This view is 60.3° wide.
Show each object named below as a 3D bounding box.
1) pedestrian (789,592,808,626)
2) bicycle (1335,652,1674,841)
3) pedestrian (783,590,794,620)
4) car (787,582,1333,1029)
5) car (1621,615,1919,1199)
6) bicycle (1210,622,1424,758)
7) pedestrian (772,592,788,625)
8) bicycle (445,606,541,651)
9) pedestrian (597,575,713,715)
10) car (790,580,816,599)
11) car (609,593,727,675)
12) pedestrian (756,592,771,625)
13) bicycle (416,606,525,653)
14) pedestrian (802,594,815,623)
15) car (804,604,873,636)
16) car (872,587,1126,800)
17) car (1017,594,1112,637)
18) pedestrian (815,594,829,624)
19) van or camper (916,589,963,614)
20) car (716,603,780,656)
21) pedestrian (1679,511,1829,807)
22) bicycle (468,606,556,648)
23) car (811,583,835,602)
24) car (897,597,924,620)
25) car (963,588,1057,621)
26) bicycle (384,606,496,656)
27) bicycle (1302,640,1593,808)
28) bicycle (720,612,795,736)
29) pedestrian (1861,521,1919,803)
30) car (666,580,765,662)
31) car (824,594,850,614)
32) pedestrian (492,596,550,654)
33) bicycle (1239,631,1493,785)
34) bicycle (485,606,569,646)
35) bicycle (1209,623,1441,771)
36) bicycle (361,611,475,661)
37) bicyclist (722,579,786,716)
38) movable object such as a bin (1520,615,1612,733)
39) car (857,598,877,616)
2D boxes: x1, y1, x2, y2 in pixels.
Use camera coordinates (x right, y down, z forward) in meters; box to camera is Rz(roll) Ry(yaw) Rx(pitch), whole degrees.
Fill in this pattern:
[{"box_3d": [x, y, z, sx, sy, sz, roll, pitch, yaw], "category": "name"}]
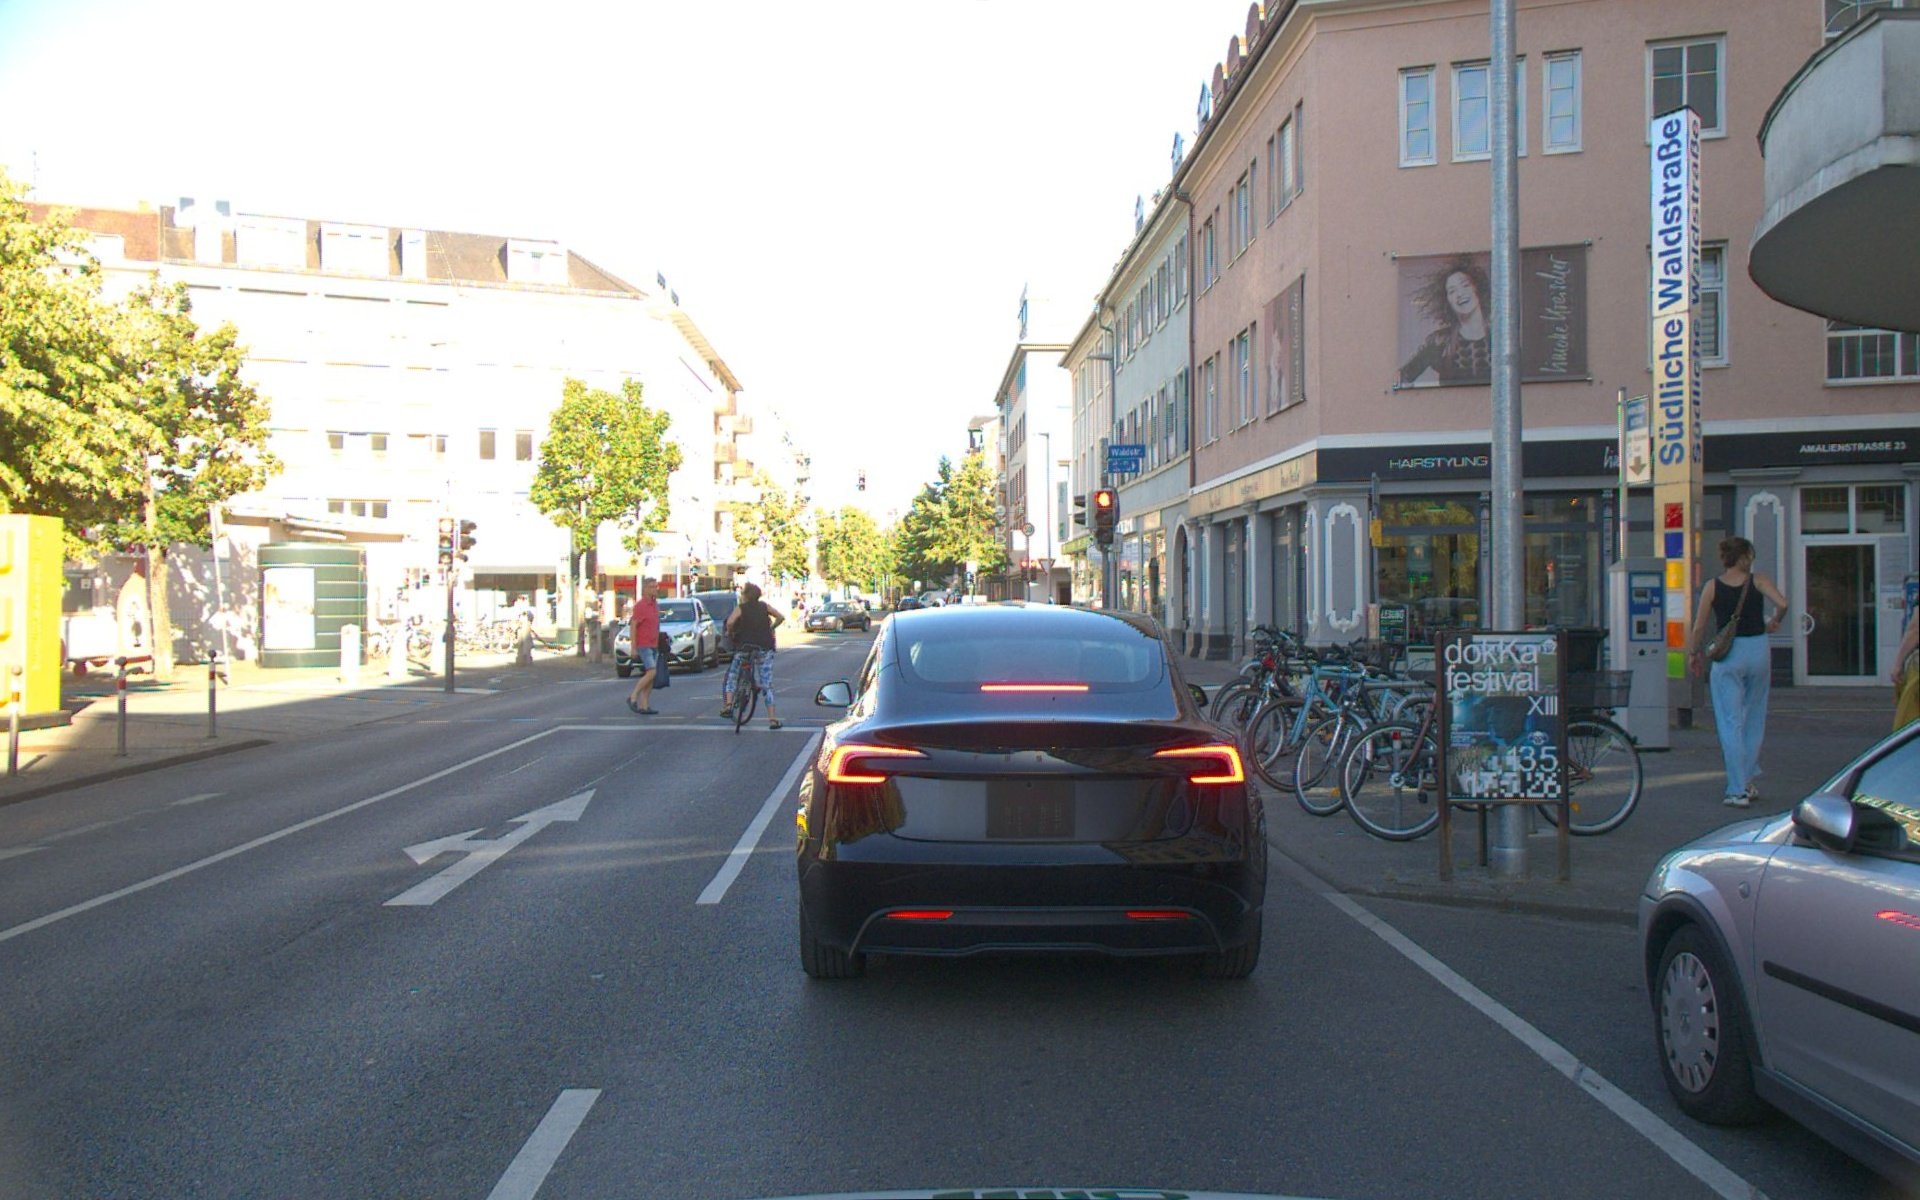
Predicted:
[{"box_3d": [-9.229, 0.509, 94.378, 0.719, 1.900, 0.790, 1, -1, 28], "category": "pedestrian"}, {"box_3d": [3.287, 0.875, 10.090, 1.844, 1.062, 0.653, -1, 0, 0], "category": "bicycle"}, {"box_3d": [-10.758, 0.312, 103.713, 0.681, 1.900, 0.658, 1, -1, -6], "category": "pedestrian"}, {"box_3d": [0.308, 0.700, 7.770, 1.812, 1.472, 4.450, 1, 0, -1], "category": "car"}, {"box_3d": [2.930, 0.781, 3.536, 1.551, 1.451, 3.579, 1, 0, -1], "category": "car"}, {"box_3d": [3.171, 0.791, 14.775, 1.776, 1.172, 0.653, 0, 0, 0], "category": "bicycle"}, {"box_3d": [-10.556, 0.497, 96.967, 0.721, 1.900, 0.787, 1, -1, -17], "category": "pedestrian"}, {"box_3d": [-14.001, 0.845, 49.641, 2.609, 1.281, 0.942, 1, 0, -4], "category": "bicycle"}, {"box_3d": [-3.946, 0.565, 21.481, 1.086, 1.750, 1.062, 1, -1, 16], "category": "pedestrian"}, {"box_3d": [-17.010, -1.131, 179.405, 2.228, 2.049, 4.717, 1, 0, 0], "category": "car"}, {"box_3d": [-6.314, 0.710, 36.236, 1.788, 1.592, 4.299, -3, 0, -1], "category": "car"}, {"box_3d": [-11.468, 0.480, 96.705, 0.721, 1.900, 0.787, 1, -1, -17], "category": "pedestrian"}, {"box_3d": [-13.992, 0.830, 47.323, 2.818, 1.292, 0.942, 1, 0, -4], "category": "bicycle"}, {"box_3d": [-9.812, 0.553, 107.283, 0.683, 1.900, 0.906, 1, -1, -14], "category": "pedestrian"}, {"box_3d": [-5.534, 0.902, 75.834, 1.659, 1.414, 3.916, 1, 0, 21], "category": "car"}, {"box_3d": [0.251, 0.685, 14.194, 1.812, 1.507, 4.450, 1, 0, -1], "category": "car"}, {"box_3d": [4.721, 0.702, 74.739, 3.937, 1.900, 1.686, 0, 0, -22], "category": "car"}, {"box_3d": [-8.597, 0.557, 103.350, 0.760, 1.900, 1.006, 1, -1, -9], "category": "pedestrian"}, {"box_3d": [-2.060, 0.170, 167.518, 4.752, 2.481, 1.850, 0, 0, -1], "category": "van or camper"}, {"box_3d": [-6.327, 0.853, 49.690, 1.431, 1.455, 3.605, -3, 0, -1], "category": "car"}, {"box_3d": [5.316, 0.384, 11.121, 0.666, 1.882, 0.894, -3, -1, 16], "category": "pedestrian"}, {"box_3d": [-14.053, 0.850, 51.916, 2.491, 1.273, 0.942, 1, 0, -4], "category": "bicycle"}, {"box_3d": [-15.593, -0.819, 188.061, 2.228, 2.049, 4.717, 1, 0, 0], "category": "car"}, {"box_3d": [-3.911, 0.664, 131.219, 1.994, 1.819, 4.005, 0, 0, -1], "category": "car"}, {"box_3d": [2.642, 0.238, 86.826, 4.638, 1.455, 1.722, -4, 0, -25], "category": "car"}, {"box_3d": [-14.115, 0.843, 44.922, 2.725, 1.296, 0.932, 1, 0, -4], "category": "bicycle"}, {"box_3d": [3.258, 0.822, 11.162, 1.776, 1.078, 0.653, 0, 0, 0], "category": "bicycle"}, {"box_3d": [-2.296, 0.798, 18.612, 0.617, 1.244, 1.994, 1, 2, -13], "category": "bicycle"}, {"box_3d": [6.422, 0.380, 10.689, 0.706, 1.785, 0.788, -2, -1, 3], "category": "pedestrian"}, {"box_3d": [-6.222, 0.506, 42.564, 1.906, 1.981, 4.819, 0, 0, -1], "category": "car"}, {"box_3d": [-12.336, 0.394, 166.261, 2.365, 2.004, 4.677, 0, 0, -1], "category": "car"}, {"box_3d": [-12.649, 0.706, 47.636, 1.070, 1.639, 1.267, 1, 0, 19], "category": "pedestrian"}, {"box_3d": [3.058, 0.805, 12.565, 1.776, 1.121, 0.653, 0, 0, 0], "category": "bicycle"}, {"box_3d": [-14.219, 0.857, 54.338, 2.491, 1.273, 0.942, 1, 0, -4], "category": "bicycle"}, {"box_3d": [2.987, 0.783, 13.638, 1.776, 1.172, 0.653, 0, 0, 0], "category": "bicycle"}, {"box_3d": [-13.941, 0.925, 42.584, 2.607, 1.216, 0.942, 1, 0, -4], "category": "bicycle"}, {"box_3d": [-2.349, 0.531, 18.810, 0.596, 1.510, 0.955, 1, 0, -13], "category": "bicyclist"}, {"box_3d": [6.051, 0.732, 16.540, 0.623, 1.122, 0.728, -2, 0, 3], "category": "movable object such as a bin"}, {"box_3d": [-10.494, 0.828, 186.965, 2.089, 2.004, 4.133, 0, 0, -1], "category": "car"}]
